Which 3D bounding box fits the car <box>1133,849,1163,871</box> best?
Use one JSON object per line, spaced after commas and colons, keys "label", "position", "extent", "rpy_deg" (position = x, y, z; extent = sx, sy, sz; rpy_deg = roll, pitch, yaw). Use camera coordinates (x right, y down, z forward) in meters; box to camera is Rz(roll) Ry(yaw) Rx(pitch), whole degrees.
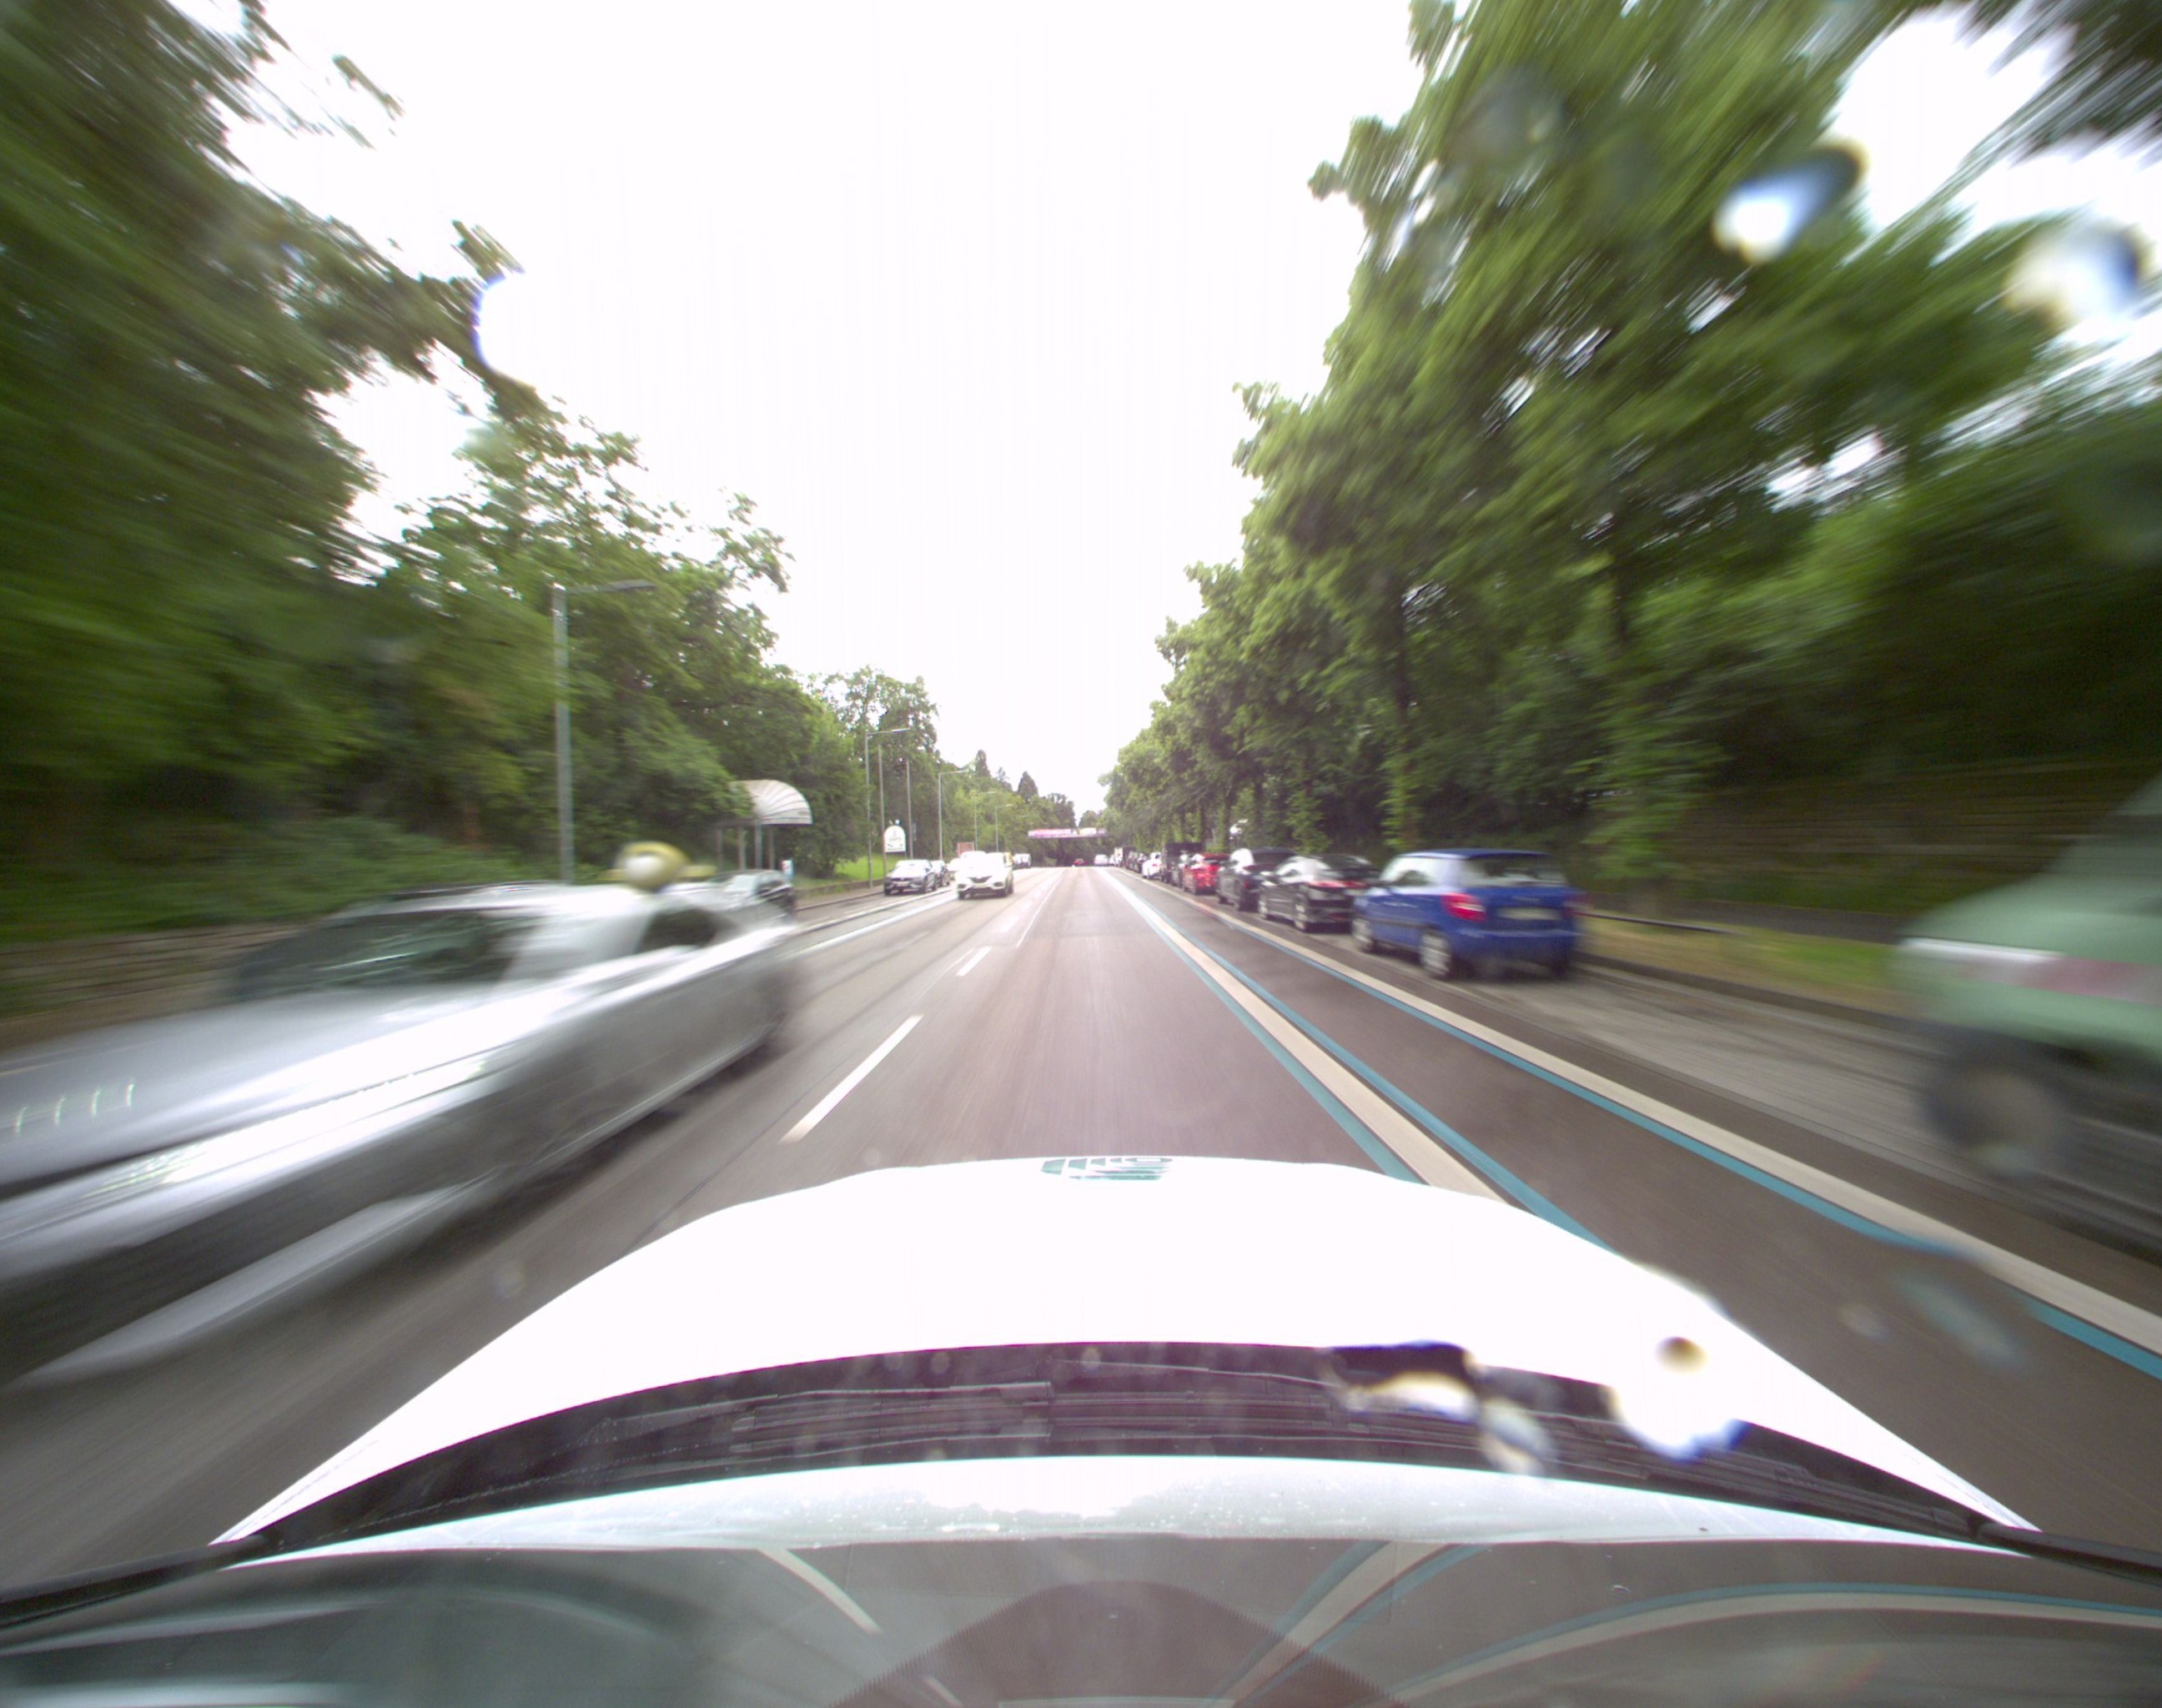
{"label": "car", "position": [4.812, 0.395, 59.057], "extent": [1.726, 1.463, 4.274], "rpy_deg": [-1, 0, -2]}

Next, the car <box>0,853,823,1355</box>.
{"label": "car", "position": [-3.311, 0.829, 4.960], "extent": [1.915, 1.560, 4.620], "rpy_deg": [-3, 0, 0]}

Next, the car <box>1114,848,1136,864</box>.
{"label": "car", "position": [4.652, 0.188, 87.291], "extent": [1.728, 1.583, 4.147], "rpy_deg": [-2, 0, -5]}

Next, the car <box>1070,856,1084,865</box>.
{"label": "car", "position": [-0.671, 1.133, 140.453], "extent": [2.136, 1.492, 4.492], "rpy_deg": [-2, 0, -4]}

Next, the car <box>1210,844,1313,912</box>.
{"label": "car", "position": [4.616, 0.539, 21.482], "extent": [1.750, 1.589, 4.498], "rpy_deg": [0, 0, 0]}

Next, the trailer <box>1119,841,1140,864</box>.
{"label": "trailer", "position": [4.894, -0.139, 83.181], "extent": [1.877, 2.166, 3.808], "rpy_deg": [-2, 0, 0]}

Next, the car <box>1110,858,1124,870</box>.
{"label": "car", "position": [4.951, 1.365, 112.067], "extent": [1.725, 1.462, 4.045], "rpy_deg": [-2, 0, 1]}

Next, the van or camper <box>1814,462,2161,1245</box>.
{"label": "van or camper", "position": [4.811, 0.012, 0.742], "extent": [2.036, 2.729, 6.898], "rpy_deg": [0, 0, -1]}

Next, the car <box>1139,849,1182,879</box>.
{"label": "car", "position": [4.322, 0.504, 44.934], "extent": [1.784, 1.543, 4.886], "rpy_deg": [0, 0, -2]}

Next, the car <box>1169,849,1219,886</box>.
{"label": "car", "position": [4.690, 0.518, 34.213], "extent": [1.601, 1.453, 3.747], "rpy_deg": [0, 0, 0]}

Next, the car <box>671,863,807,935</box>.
{"label": "car", "position": [-8.230, 1.018, 19.996], "extent": [1.666, 1.457, 3.991], "rpy_deg": [-2, 0, -1]}

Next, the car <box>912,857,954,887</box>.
{"label": "car", "position": [-8.044, 0.954, 44.611], "extent": [1.692, 1.437, 4.050], "rpy_deg": [-2, 1, -3]}

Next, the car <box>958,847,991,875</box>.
{"label": "car", "position": [-8.192, 0.511, 62.945], "extent": [1.907, 1.931, 4.926], "rpy_deg": [-2, 1, -1]}

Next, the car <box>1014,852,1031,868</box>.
{"label": "car", "position": [-7.772, 0.745, 109.072], "extent": [1.750, 1.931, 4.196], "rpy_deg": [-2, 1, 2]}

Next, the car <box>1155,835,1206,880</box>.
{"label": "car", "position": [4.815, 0.137, 40.034], "extent": [1.920, 2.022, 4.663], "rpy_deg": [-1, 0, 0]}

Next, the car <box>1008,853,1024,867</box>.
{"label": "car", "position": [-8.117, 0.710, 101.625], "extent": [1.866, 1.542, 4.050], "rpy_deg": [-2, 1, -3]}

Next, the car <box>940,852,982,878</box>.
{"label": "car", "position": [-8.268, 0.726, 56.499], "extent": [1.983, 1.605, 4.986], "rpy_deg": [-2, 1, 1]}

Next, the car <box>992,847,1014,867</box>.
{"label": "car", "position": [-8.155, 0.240, 85.123], "extent": [1.877, 1.945, 4.823], "rpy_deg": [-2, 1, -1]}

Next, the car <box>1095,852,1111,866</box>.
{"label": "car", "position": [2.687, 0.634, 100.449], "extent": [1.726, 1.583, 4.035], "rpy_deg": [-2, 0, -1]}

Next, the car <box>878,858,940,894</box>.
{"label": "car", "position": [-7.884, 0.972, 37.718], "extent": [2.072, 1.482, 4.668], "rpy_deg": [-2, 0, -3]}

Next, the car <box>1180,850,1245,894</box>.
{"label": "car", "position": [4.648, 0.586, 29.303], "extent": [1.680, 1.453, 4.165], "rpy_deg": [0, 0, 0]}

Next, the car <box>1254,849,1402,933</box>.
{"label": "car", "position": [4.776, 0.633, 16.389], "extent": [1.681, 1.455, 4.144], "rpy_deg": [0, 0, -1]}

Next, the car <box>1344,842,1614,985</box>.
{"label": "car", "position": [4.889, 0.620, 10.648], "extent": [1.680, 1.513, 3.835], "rpy_deg": [0, 0, 0]}

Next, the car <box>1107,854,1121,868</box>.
{"label": "car", "position": [4.273, 0.906, 105.443], "extent": [1.725, 1.684, 4.045], "rpy_deg": [-2, 0, 1]}

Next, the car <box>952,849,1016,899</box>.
{"label": "car", "position": [-3.600, 0.695, 30.921], "extent": [1.789, 1.651, 4.129], "rpy_deg": [-3, 0, 1]}

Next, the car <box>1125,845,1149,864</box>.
{"label": "car", "position": [4.847, 0.032, 70.982], "extent": [1.726, 1.583, 4.151], "rpy_deg": [0, 0, -2]}

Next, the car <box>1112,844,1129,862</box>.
{"label": "car", "position": [4.827, -0.116, 100.033], "extent": [1.882, 2.127, 4.045], "rpy_deg": [-1, 0, 1]}

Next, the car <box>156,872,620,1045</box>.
{"label": "car", "position": [-8.126, 1.073, 10.368], "extent": [1.952, 1.463, 4.751], "rpy_deg": [-1, 1, -3]}
